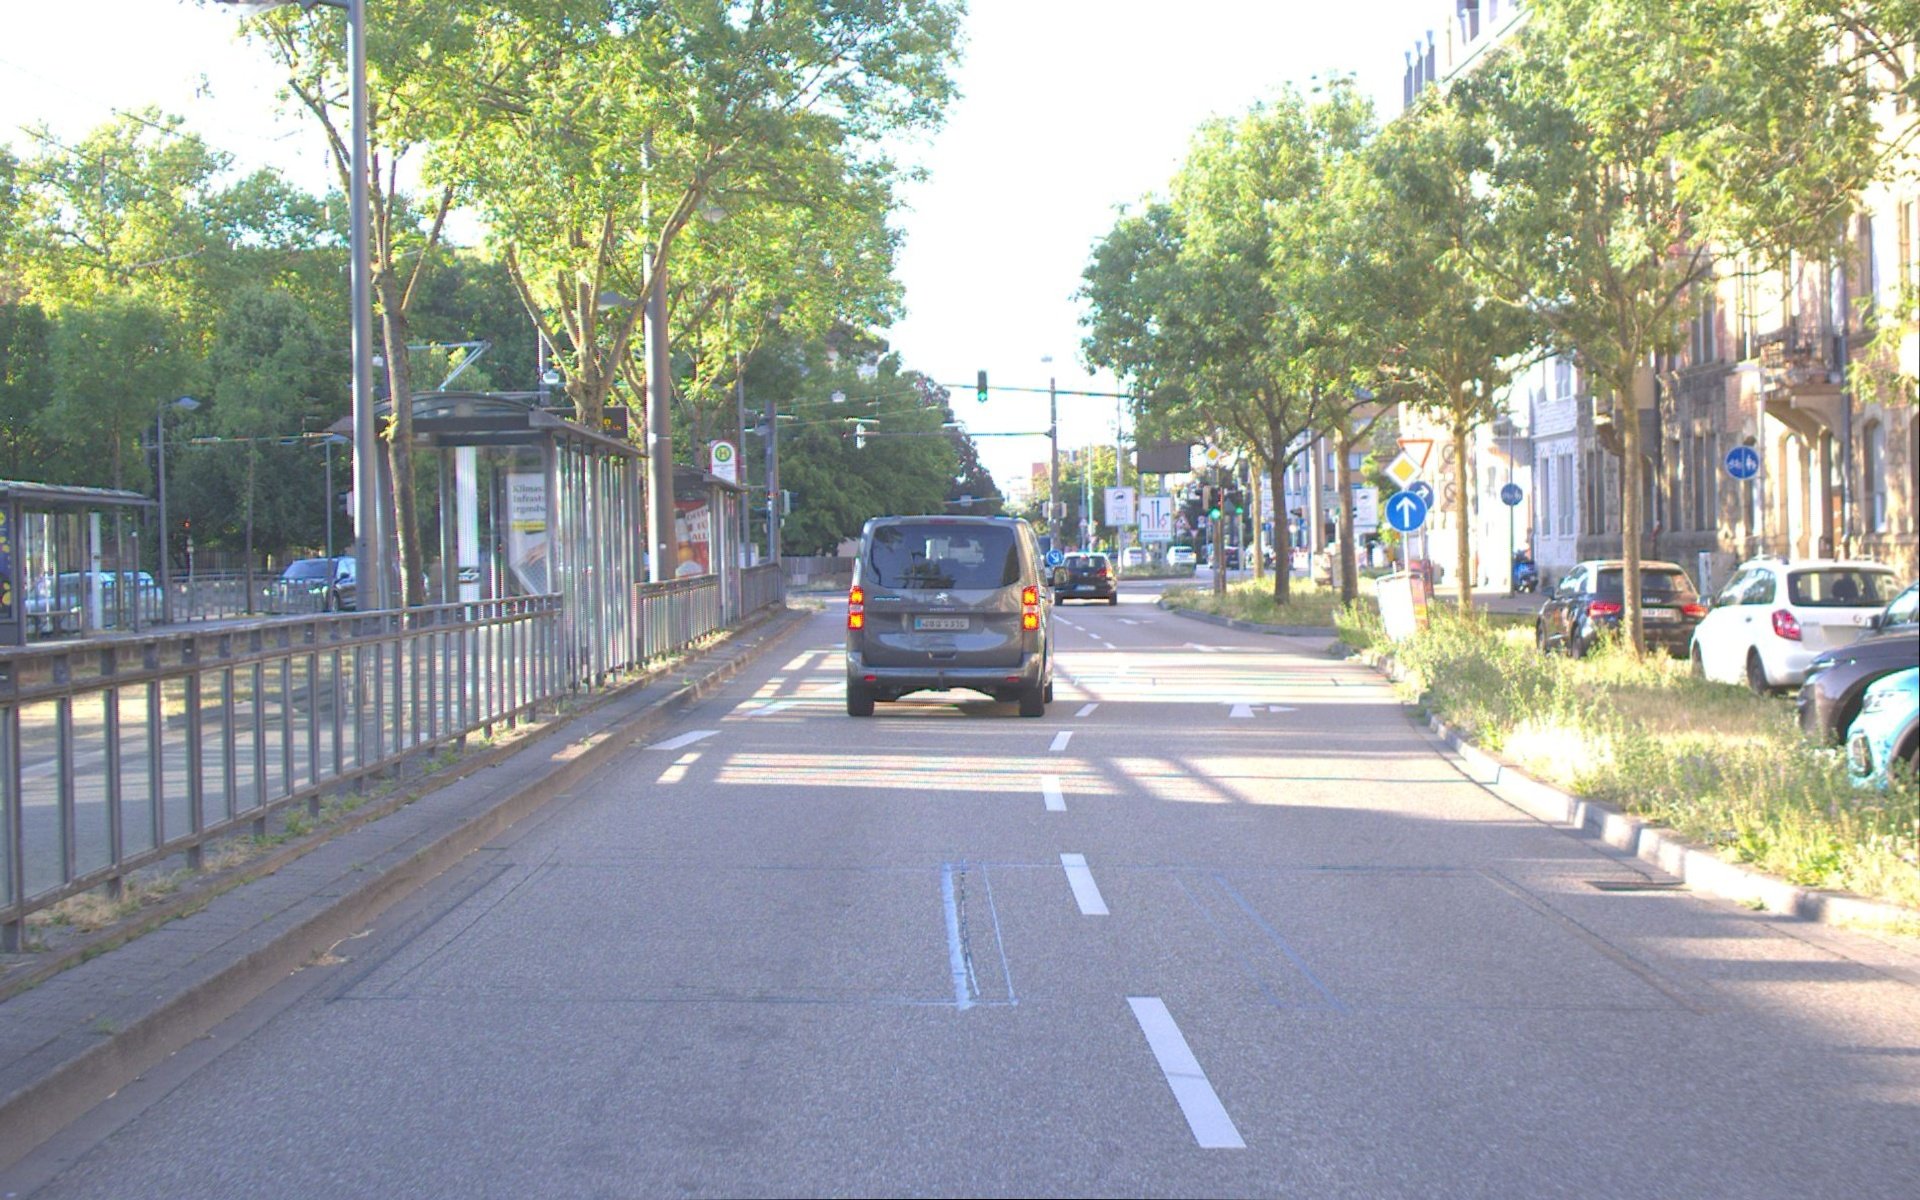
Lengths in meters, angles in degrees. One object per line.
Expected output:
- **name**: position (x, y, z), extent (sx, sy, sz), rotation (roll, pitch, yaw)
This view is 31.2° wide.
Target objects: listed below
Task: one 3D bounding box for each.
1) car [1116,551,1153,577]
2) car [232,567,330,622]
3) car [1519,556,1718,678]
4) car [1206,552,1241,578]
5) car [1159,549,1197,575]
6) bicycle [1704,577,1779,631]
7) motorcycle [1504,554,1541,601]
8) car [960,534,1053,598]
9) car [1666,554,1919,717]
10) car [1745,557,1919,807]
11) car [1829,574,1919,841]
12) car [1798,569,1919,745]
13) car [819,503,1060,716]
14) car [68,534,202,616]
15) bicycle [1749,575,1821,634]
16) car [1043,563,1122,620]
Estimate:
- **car**: position (11.568, -2.392, 228.183), extent (1.993, 1.651, 4.299), rotation (-1, 1, -3)
- **car**: position (-17.966, -0.161, 91.128), extent (1.794, 1.410, 4.341), rotation (1, 0, -1)
- **car**: position (8.509, 0.181, 44.757), extent (1.704, 1.443, 4.289), rotation (2, 1, 0)
- **car**: position (17.167, -2.290, 223.820), extent (1.993, 1.651, 4.299), rotation (-1, 1, 1)
- **car**: position (14.411, -2.499, 227.136), extent (1.993, 1.651, 4.299), rotation (-1, 1, -3)
- **bicycle**: position (13.942, 0.061, 61.381), extent (0.872, 0.913, 2.084), rotation (-2, 1, 1)
- **motorcycle**: position (14.819, -0.595, 90.593), extent (0.553, 1.210, 2.073), rotation (1, 0, -2)
- **car**: position (1.114, -0.851, 84.124), extent (1.993, 1.505, 4.001), rotation (1, 1, -3)
- **car**: position (8.617, 0.319, 35.293), extent (1.725, 1.507, 4.272), rotation (2, 1, -1)
- **car**: position (7.529, 0.553, 22.324), extent (4.334, 1.566, 1.998), rotation (2, 2, 29)
- **car**: position (7.359, 0.622, 19.655), extent (4.281, 1.517, 1.844), rotation (0, 1, 32)
- **car**: position (8.890, 0.493, 29.763), extent (1.945, 1.440, 4.909), rotation (2, 1, -1)
- **car**: position (-0.128, 0.064, 33.393), extent (1.994, 1.894, 4.298), rotation (1, 1, 4)
- **car**: position (-17.125, -0.541, 71.537), extent (1.859, 1.648, 4.000), rotation (0, 1, -1)
- **bicycle**: position (14.103, 0.072, 58.825), extent (0.733, 0.945, 2.339), rotation (-2, 1, 3)
- **car**: position (3.396, -0.250, 95.874), extent (1.993, 1.505, 4.000), rotation (1, 1, -1)
